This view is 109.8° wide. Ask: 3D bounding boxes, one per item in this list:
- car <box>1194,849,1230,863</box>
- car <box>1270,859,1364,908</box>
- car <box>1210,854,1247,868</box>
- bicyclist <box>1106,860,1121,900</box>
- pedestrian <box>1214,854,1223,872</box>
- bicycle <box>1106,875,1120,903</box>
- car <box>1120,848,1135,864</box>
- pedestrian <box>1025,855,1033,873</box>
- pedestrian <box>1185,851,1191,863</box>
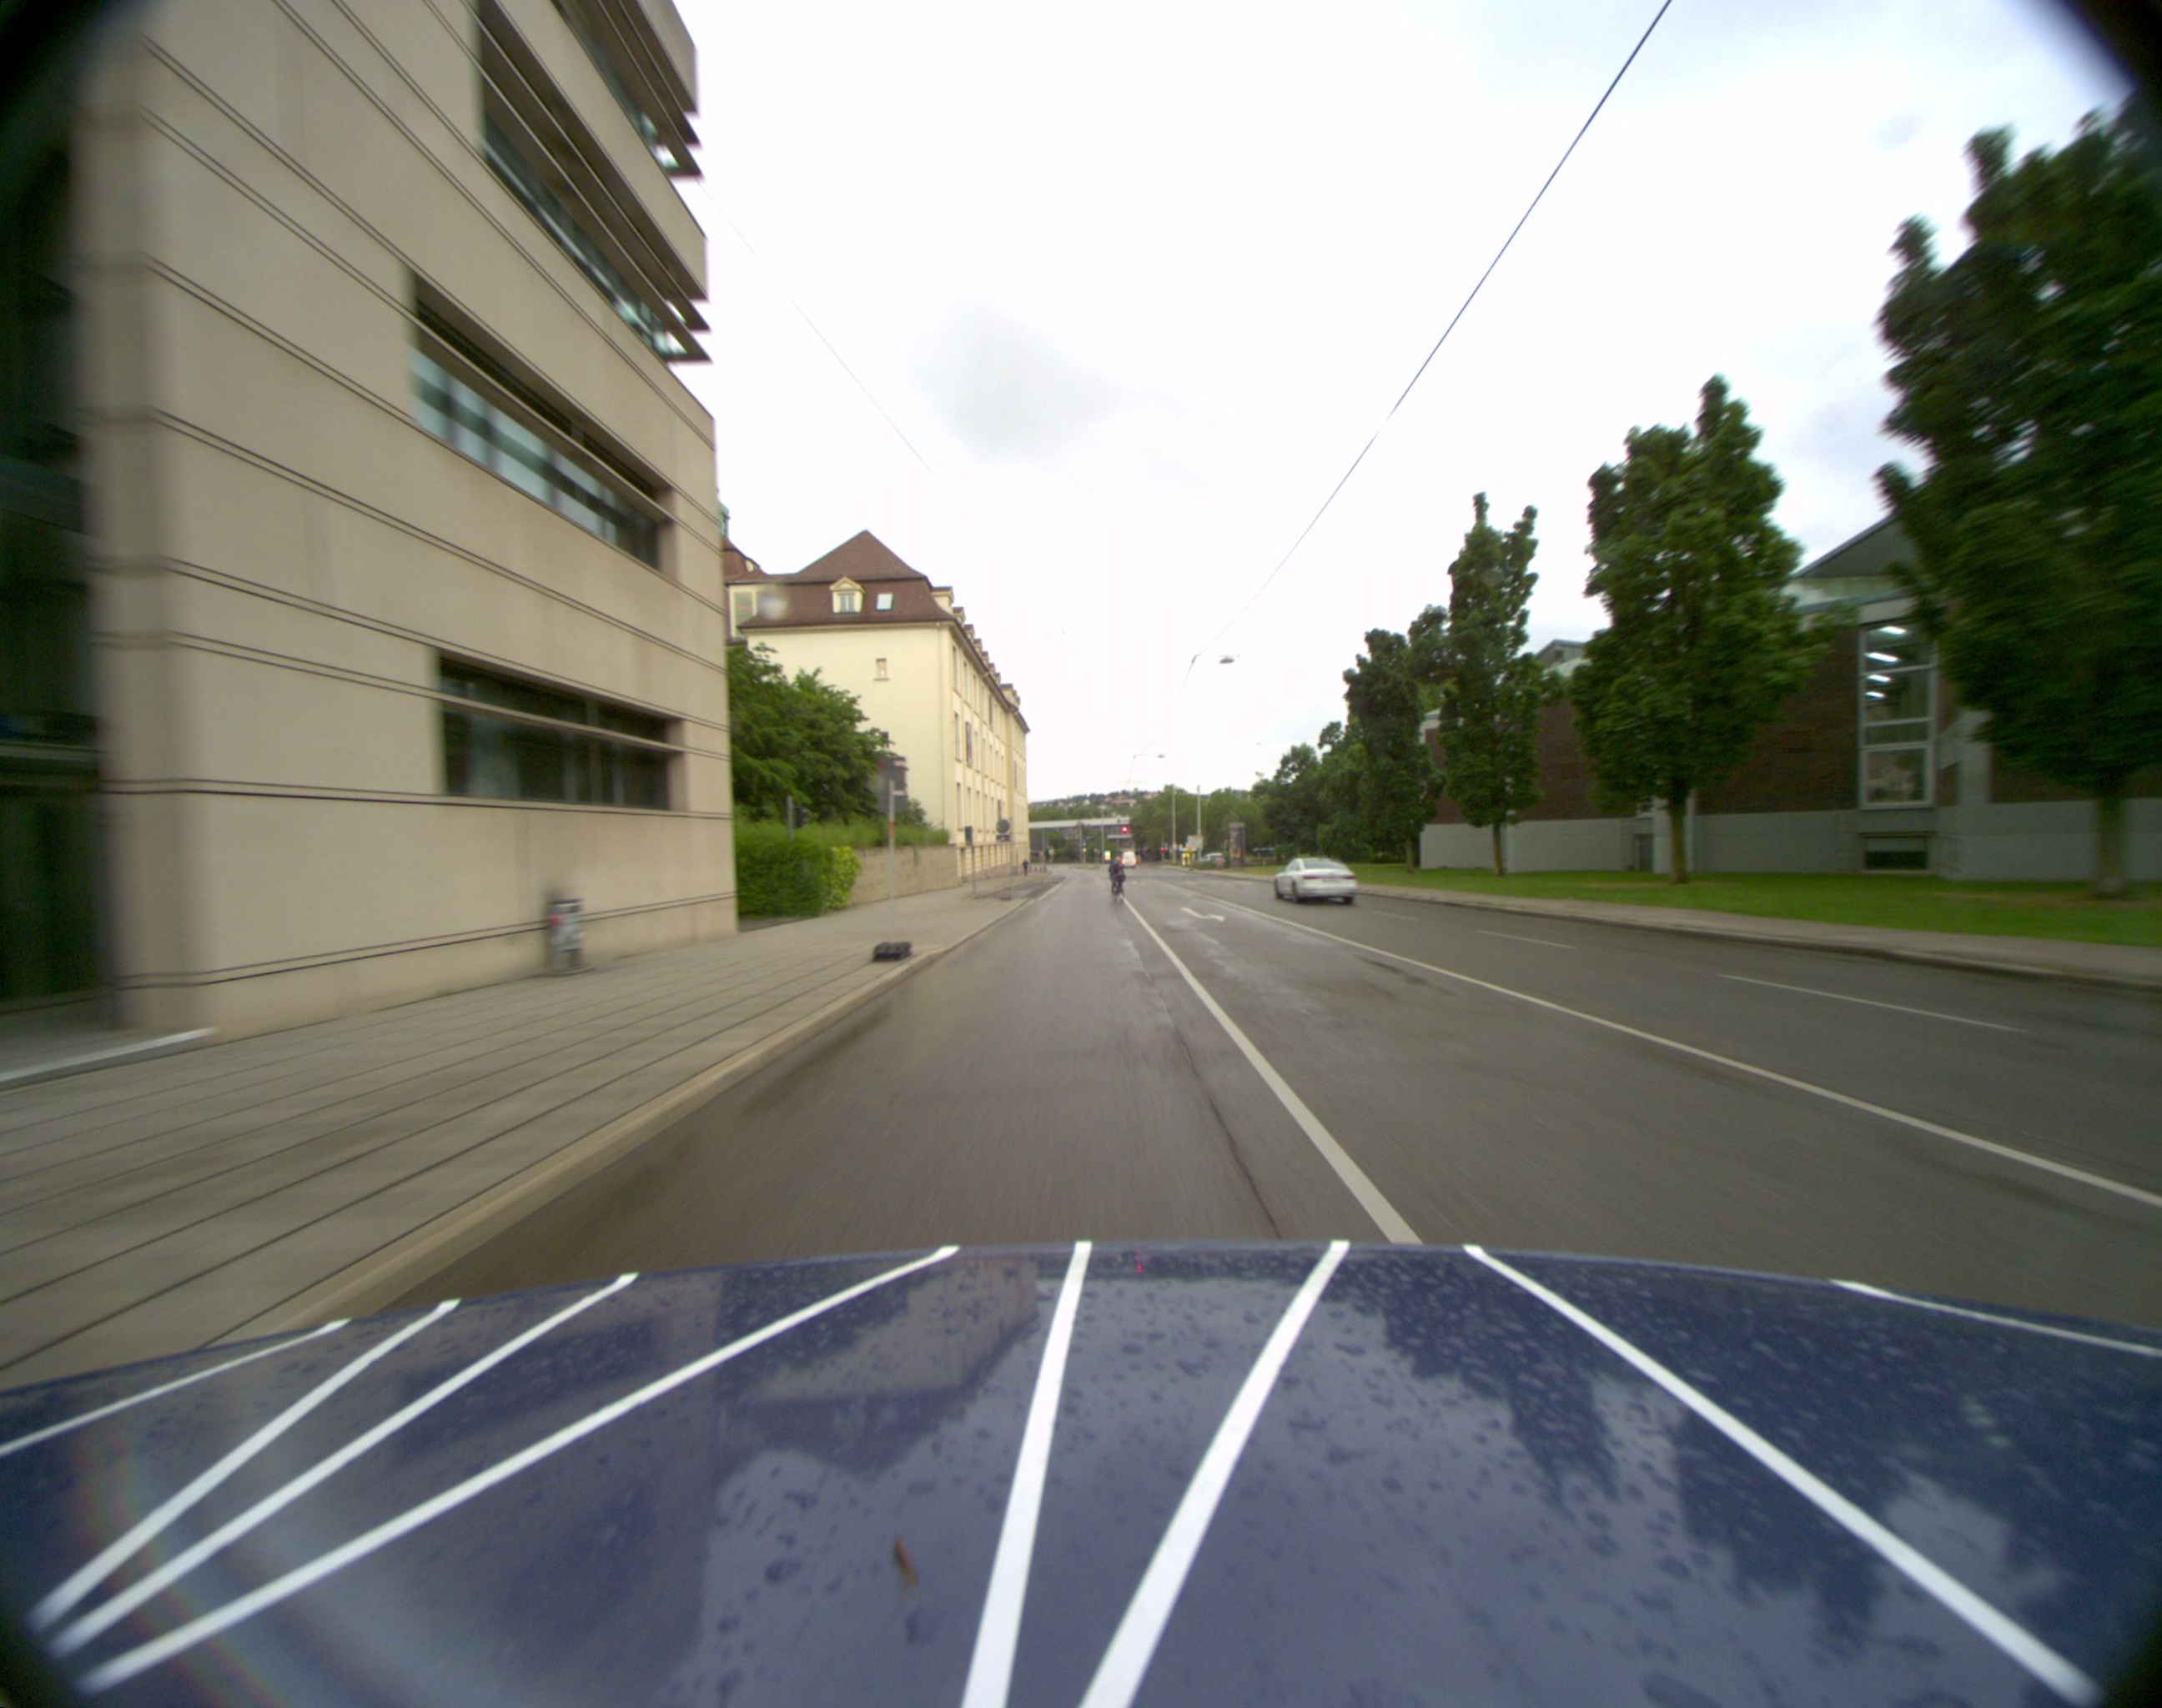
[{"bbox_3d":[18.966,0.271,110.176,4.710,1.745,2.020,-2,1,43],"label":"car"},{"bbox_3d":[7.992,0.947,26.249,1.886,1.482,5.221,1,0,3],"label":"car"},{"bbox_3d":[18.070,0.843,93.355,1.871,1.600,4.515,-3,1,-33],"label":"car"},{"bbox_3d":[1.197,0.944,27.941,0.485,1.425,0.930,-2,1,3],"label":"bicyclist"},{"bbox_3d":[12.981,0.829,71.669,0.671,1.677,0.914,-2,1,8],"label":"pedestrian"},{"bbox_3d":[1.192,1.287,28.004,0.448,0.957,1.690,-2,-1,3],"label":"bicycle"},{"bbox_3d":[7.598,0.353,123.783,1.988,2.514,5.631,-1,0,-1],"label":"car"},{"bbox_3d":[-5.176,1.006,75.330,0.671,1.787,0.852,0,1,2],"label":"pedestrian"},{"bbox_3d":[15.184,0.468,107.397,0.629,1.686,0.642,-3,1,-7],"label":"pedestrian"}]
